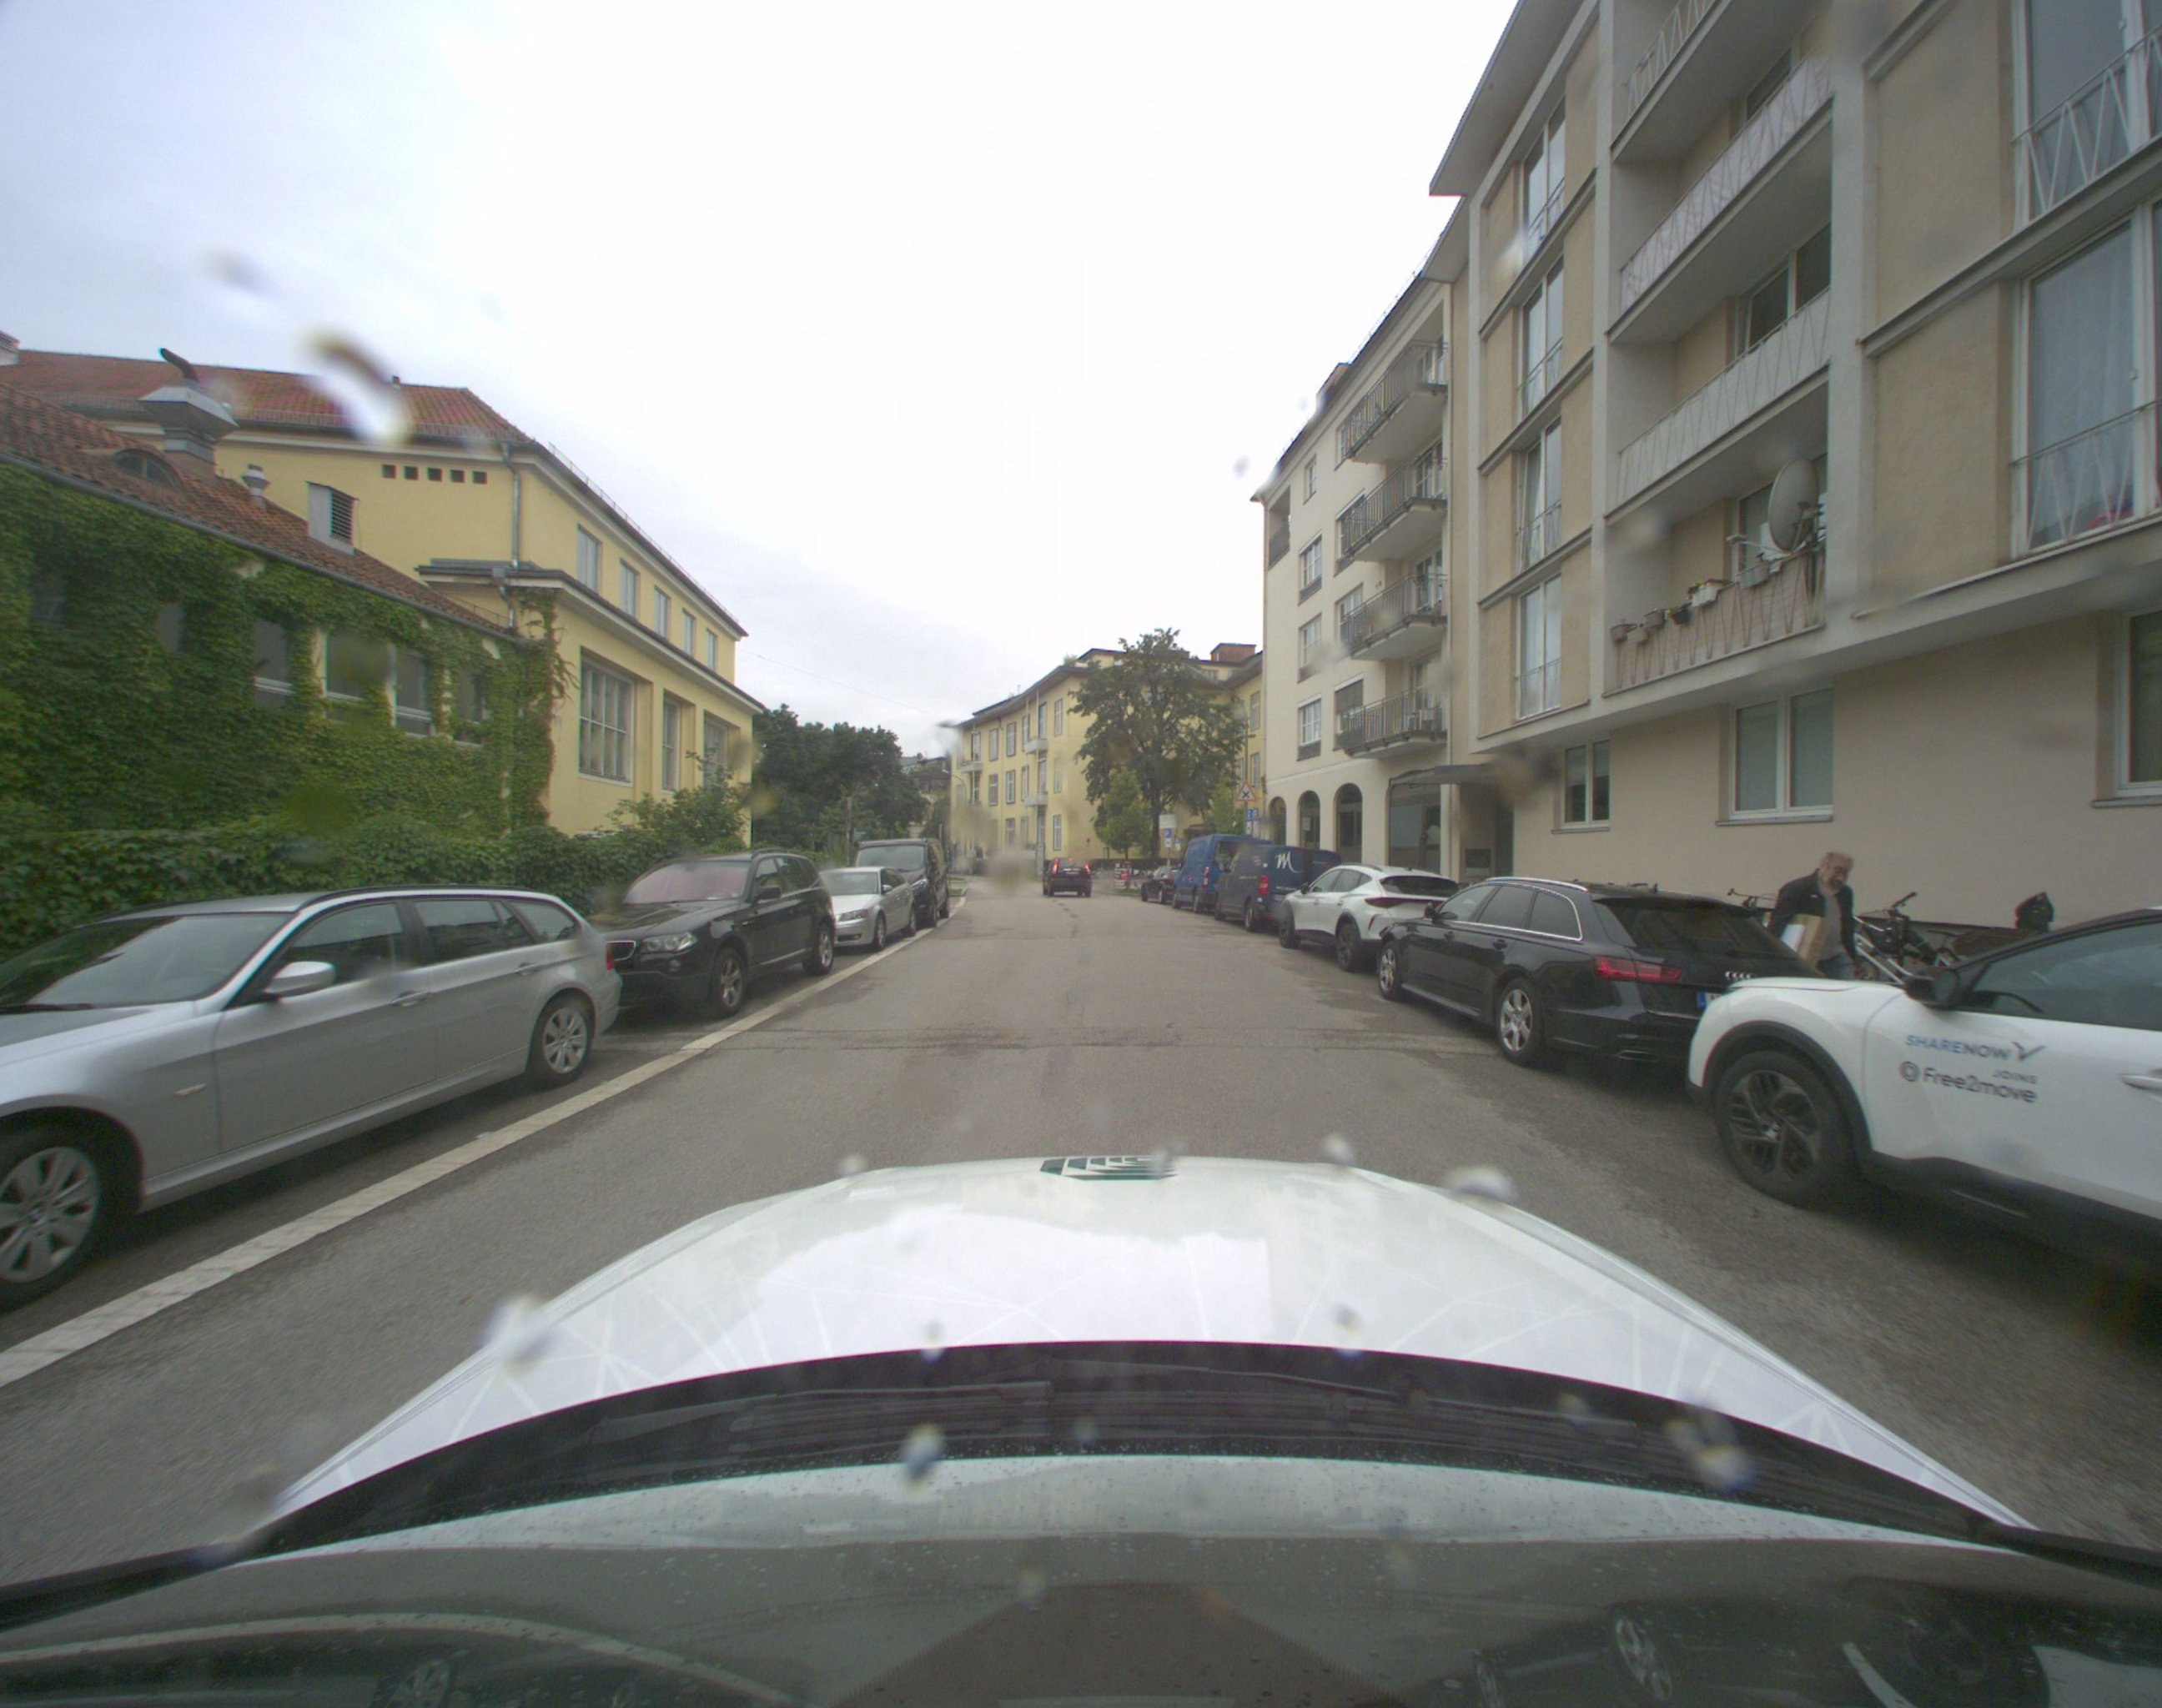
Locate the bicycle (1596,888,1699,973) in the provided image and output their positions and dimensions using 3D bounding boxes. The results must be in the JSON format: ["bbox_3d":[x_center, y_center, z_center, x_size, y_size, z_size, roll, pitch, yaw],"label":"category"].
[{"bbox_3d":[8.476,1.113,12.251,0.531,1.133,1.408,0,0,-2],"label":"bicycle"}]

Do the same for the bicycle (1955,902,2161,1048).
[{"bbox_3d":[8.319,0.959,6.873,0.388,1.024,1.402,-1,0,2],"label":"bicycle"}]

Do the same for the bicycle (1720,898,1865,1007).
[{"bbox_3d":[7.757,1.040,8.951,0.388,1.024,1.402,-1,0,2],"label":"bicycle"}]

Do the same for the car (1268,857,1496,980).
[{"bbox_3d":[4.470,0.861,12.866,1.735,1.537,4.267,3,0,-4],"label":"car"}]

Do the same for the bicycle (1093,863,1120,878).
[{"bbox_3d":[1.967,1.263,62.260,2.189,1.117,0.614,0,-1,43],"label":"bicycle"}]

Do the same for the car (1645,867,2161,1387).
[{"bbox_3d":[4.086,0.866,2.518,1.733,1.499,4.219,3,0,0],"label":"car"}]

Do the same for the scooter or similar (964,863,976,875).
[{"bbox_3d":[-10.624,1.415,78.014,0.491,1.109,1.417,0,0,23],"label":"scooter or similar"}]

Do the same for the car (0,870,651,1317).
[{"bbox_3d":[-4.427,0.897,4.348,1.695,1.422,4.426,-5,0,2],"label":"car"}]

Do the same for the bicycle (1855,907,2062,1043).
[{"bbox_3d":[7.877,1.042,7.395,0.388,1.024,1.402,-1,0,2],"label":"bicycle"}]

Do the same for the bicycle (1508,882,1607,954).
[{"bbox_3d":[8.282,1.085,14.205,0.536,1.133,1.394,0,0,-34],"label":"bicycle"}]

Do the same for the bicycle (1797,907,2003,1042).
[{"bbox_3d":[7.370,1.040,7.417,0.481,1.024,1.402,-1,0,2],"label":"bicycle"}]

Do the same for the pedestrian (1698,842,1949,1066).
[{"bbox_3d":[6.136,0.760,6.843,0.895,1.687,1.319,0,0,0],"label":"pedestrian"}]

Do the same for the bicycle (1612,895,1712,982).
[{"bbox_3d":[7.696,1.093,10.847,0.421,1.024,1.302,-1,0,2],"label":"bicycle"}]

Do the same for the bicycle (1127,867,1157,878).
[{"bbox_3d":[4.576,1.360,60.981,2.194,0.779,0.612,0,0,14],"label":"bicycle"}]

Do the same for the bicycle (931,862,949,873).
[{"bbox_3d":[-14.406,1.382,83.194,0.690,1.085,2.350,0,0,19],"label":"bicycle"}]

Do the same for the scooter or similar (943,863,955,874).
[{"bbox_3d":[-13.312,1.434,82.210,0.491,1.088,1.417,0,0,23],"label":"scooter or similar"}]

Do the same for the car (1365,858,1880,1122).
[{"bbox_3d":[4.222,0.869,7.425,1.732,1.499,4.498,6,0,2],"label":"car"}]

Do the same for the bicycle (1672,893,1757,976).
[{"bbox_3d":[8.560,1.064,11.040,0.372,1.024,1.002,-1,0,1],"label":"bicycle"}]

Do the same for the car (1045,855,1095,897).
[{"bbox_3d":[-0.539,0.898,35.421,1.990,1.694,4.376,-1,0,-3],"label":"car"}]

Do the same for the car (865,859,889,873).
[{"bbox_3d":[-25.928,1.519,103.375,1.874,1.633,4.244,-1,0,-28],"label":"car"}]

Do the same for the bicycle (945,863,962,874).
[{"bbox_3d":[-12.819,1.460,81.892,0.570,1.085,1.945,0,0,26],"label":"bicycle"}]

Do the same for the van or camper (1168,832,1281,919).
[{"bbox_3d":[4.146,0.586,24.544,2.056,2.231,5.430,2,0,-4],"label":"van or camper"}]

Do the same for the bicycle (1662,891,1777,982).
[{"bbox_3d":[8.136,1.021,10.441,0.388,1.024,1.402,-1,0,2],"label":"bicycle"}]

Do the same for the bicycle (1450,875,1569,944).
[{"bbox_3d":[8.262,1.031,15.850,1.143,1.186,2.206,0,0,0],"label":"bicycle"}]

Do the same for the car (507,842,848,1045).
[{"bbox_3d":[-4.191,0.792,9.391,1.614,1.730,4.425,-2,0,1],"label":"car"}]

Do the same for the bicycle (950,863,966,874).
[{"bbox_3d":[-12.285,1.443,81.373,0.570,1.085,1.945,0,0,26],"label":"bicycle"}]

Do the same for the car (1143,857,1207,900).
[{"bbox_3d":[3.472,0.875,30.761,1.700,1.518,3.953,1,0,-3],"label":"car"}]

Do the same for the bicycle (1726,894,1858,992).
[{"bbox_3d":[8.522,1.032,9.824,0.388,1.024,1.402,-1,0,2],"label":"bicycle"}]

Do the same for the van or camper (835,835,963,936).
[{"bbox_3d":[-4.212,0.670,19.667,1.954,2.065,4.752,-2,0,0],"label":"van or camper"}]

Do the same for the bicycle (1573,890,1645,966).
[{"bbox_3d":[7.838,1.075,12.126,0.420,1.024,1.201,-1,0,9],"label":"bicycle"}]

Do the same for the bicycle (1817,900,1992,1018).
[{"bbox_3d":[8.392,1.032,8.375,0.388,1.024,1.402,-1,0,2],"label":"bicycle"}]

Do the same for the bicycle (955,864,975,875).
[{"bbox_3d":[-11.299,1.503,79.251,1.836,1.005,0.571,-1,0,-33],"label":"bicycle"}]

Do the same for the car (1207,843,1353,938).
[{"bbox_3d":[4.383,0.737,18.781,1.959,1.816,4.932,2,0,-2],"label":"car"}]

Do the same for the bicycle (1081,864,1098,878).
[{"bbox_3d":[0.653,1.364,64.393,0.610,1.072,2.201,0,0,-22],"label":"bicycle"}]

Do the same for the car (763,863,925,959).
[{"bbox_3d":[-4.055,0.910,14.619,1.614,1.378,4.072,-2,0,1],"label":"car"}]
